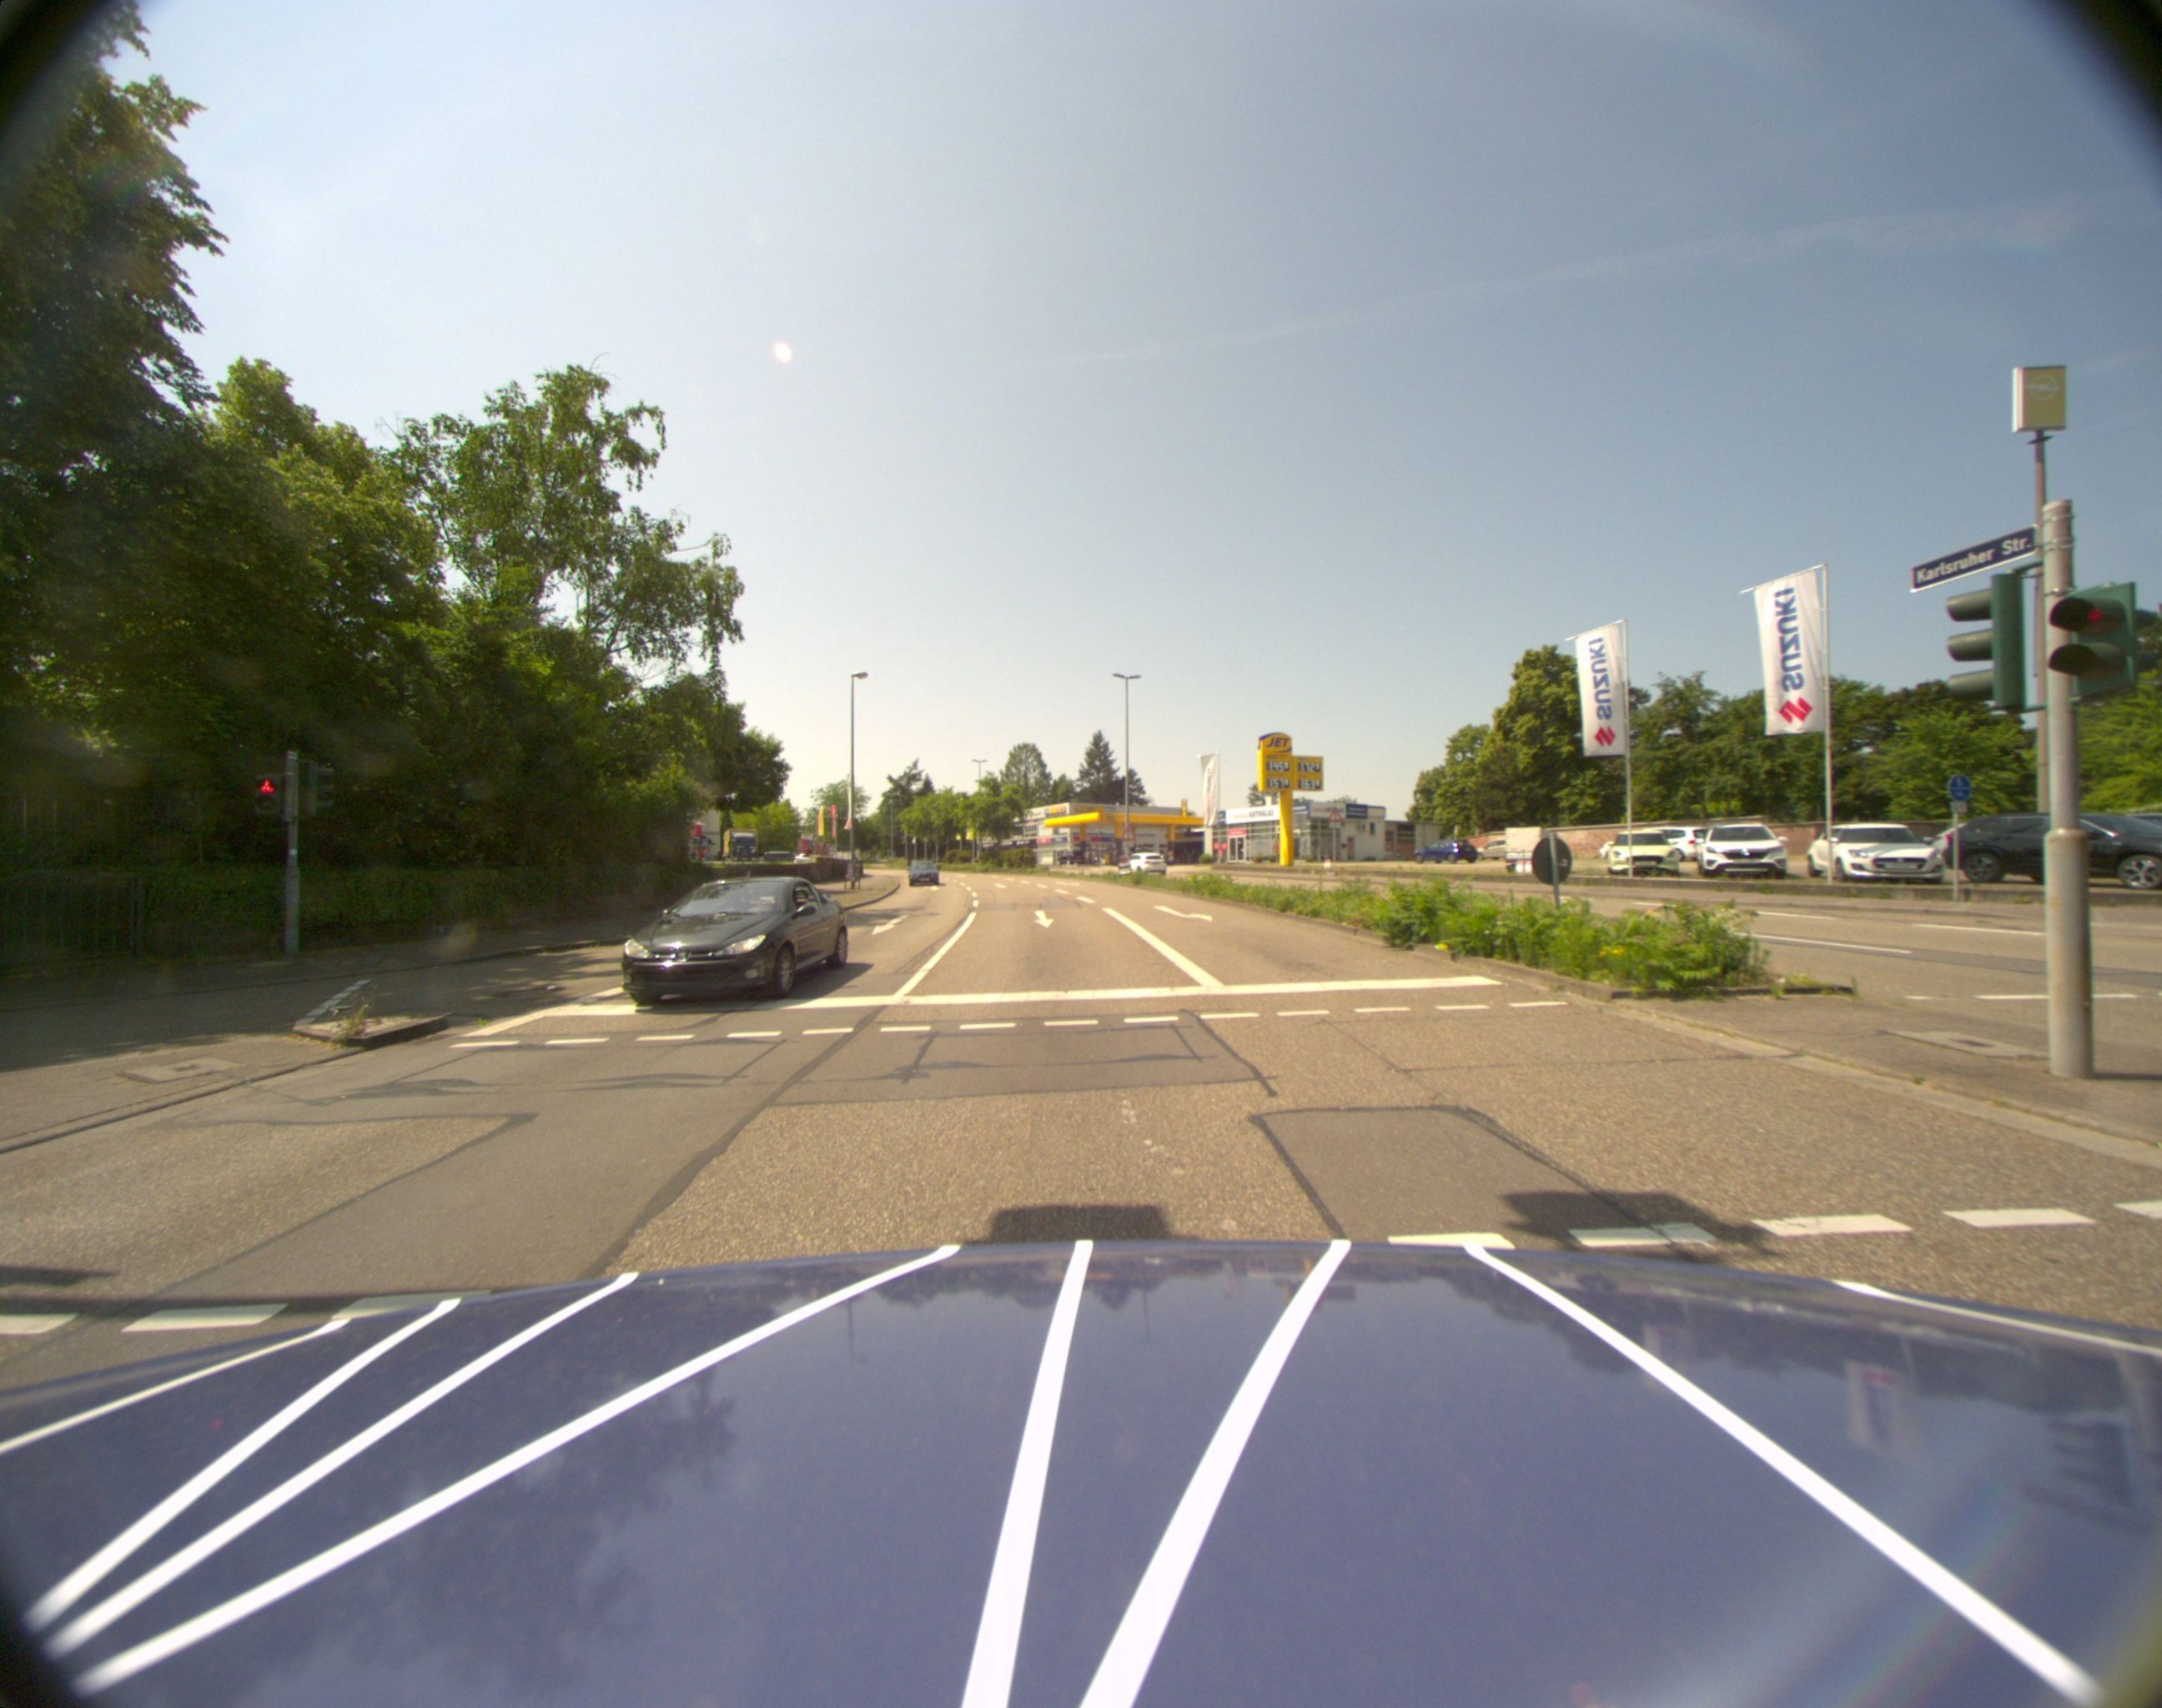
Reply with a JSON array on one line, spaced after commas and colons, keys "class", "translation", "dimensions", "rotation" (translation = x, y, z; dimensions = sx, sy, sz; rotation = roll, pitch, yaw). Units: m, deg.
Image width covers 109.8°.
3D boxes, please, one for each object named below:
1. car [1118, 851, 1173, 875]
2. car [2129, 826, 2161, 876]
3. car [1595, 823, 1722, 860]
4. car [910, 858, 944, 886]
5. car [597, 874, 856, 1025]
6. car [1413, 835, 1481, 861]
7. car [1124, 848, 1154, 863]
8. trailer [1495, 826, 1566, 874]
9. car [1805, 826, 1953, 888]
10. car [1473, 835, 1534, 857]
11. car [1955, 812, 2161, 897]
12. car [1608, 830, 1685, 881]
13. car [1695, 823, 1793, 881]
[{"class": "car", "translation": [4.170, 0.596, 49.704], "dimensions": [1.876, 1.416, 4.261], "rotation": [-1, -2, -22]}, {"class": "car", "translation": [34.124, -0.108, 22.089], "dimensions": [1.795, 1.528, 3.999], "rotation": [-2, 1, -1]}, {"class": "car", "translation": [28.073, -0.573, 37.126], "dimensions": [1.696, 1.640, 4.748], "rotation": [-1, 0, -22]}, {"class": "car", "translation": [-8.686, 0.966, 42.699], "dimensions": [1.699, 1.366, 3.994], "rotation": [0, 1, -13]}, {"class": "car", "translation": [-4.134, 1.015, 9.535], "dimensions": [1.604, 1.416, 3.660], "rotation": [-1, 0, -2]}, {"class": "car", "translation": [22.416, -0.344, 46.672], "dimensions": [1.696, 1.497, 3.625], "rotation": [-1, 0, -20]}, {"class": "car", "translation": [6.522, 0.158, 86.402], "dimensions": [1.658, 1.534, 4.205], "rotation": [-2, 1, -22]}, {"class": "trailer", "translation": [16.815, -0.163, 28.409], "dimensions": [2.439, 1.694, 1.689], "rotation": [-2, 1, -45]}, {"class": "car", "translation": [20.482, 0.005, 19.694], "dimensions": [1.711, 1.424, 3.969], "rotation": [0, 2, 32]}, {"class": "car", "translation": [30.308, -0.528, 54.563], "dimensions": [1.621, 1.497, 3.625], "rotation": [-1, 0, -20]}, {"class": "car", "translation": [22.555, -0.046, 16.764], "dimensions": [1.845, 1.714, 4.012], "rotation": [-1, 2, -3]}, {"class": "car", "translation": [18.242, 0.007, 24.669], "dimensions": [1.753, 1.501, 3.827], "rotation": [-1, 1, 33]}, {"class": "car", "translation": [19.292, -0.106, 22.261], "dimensions": [1.913, 1.532, 3.970], "rotation": [-1, 1, 38]}]
